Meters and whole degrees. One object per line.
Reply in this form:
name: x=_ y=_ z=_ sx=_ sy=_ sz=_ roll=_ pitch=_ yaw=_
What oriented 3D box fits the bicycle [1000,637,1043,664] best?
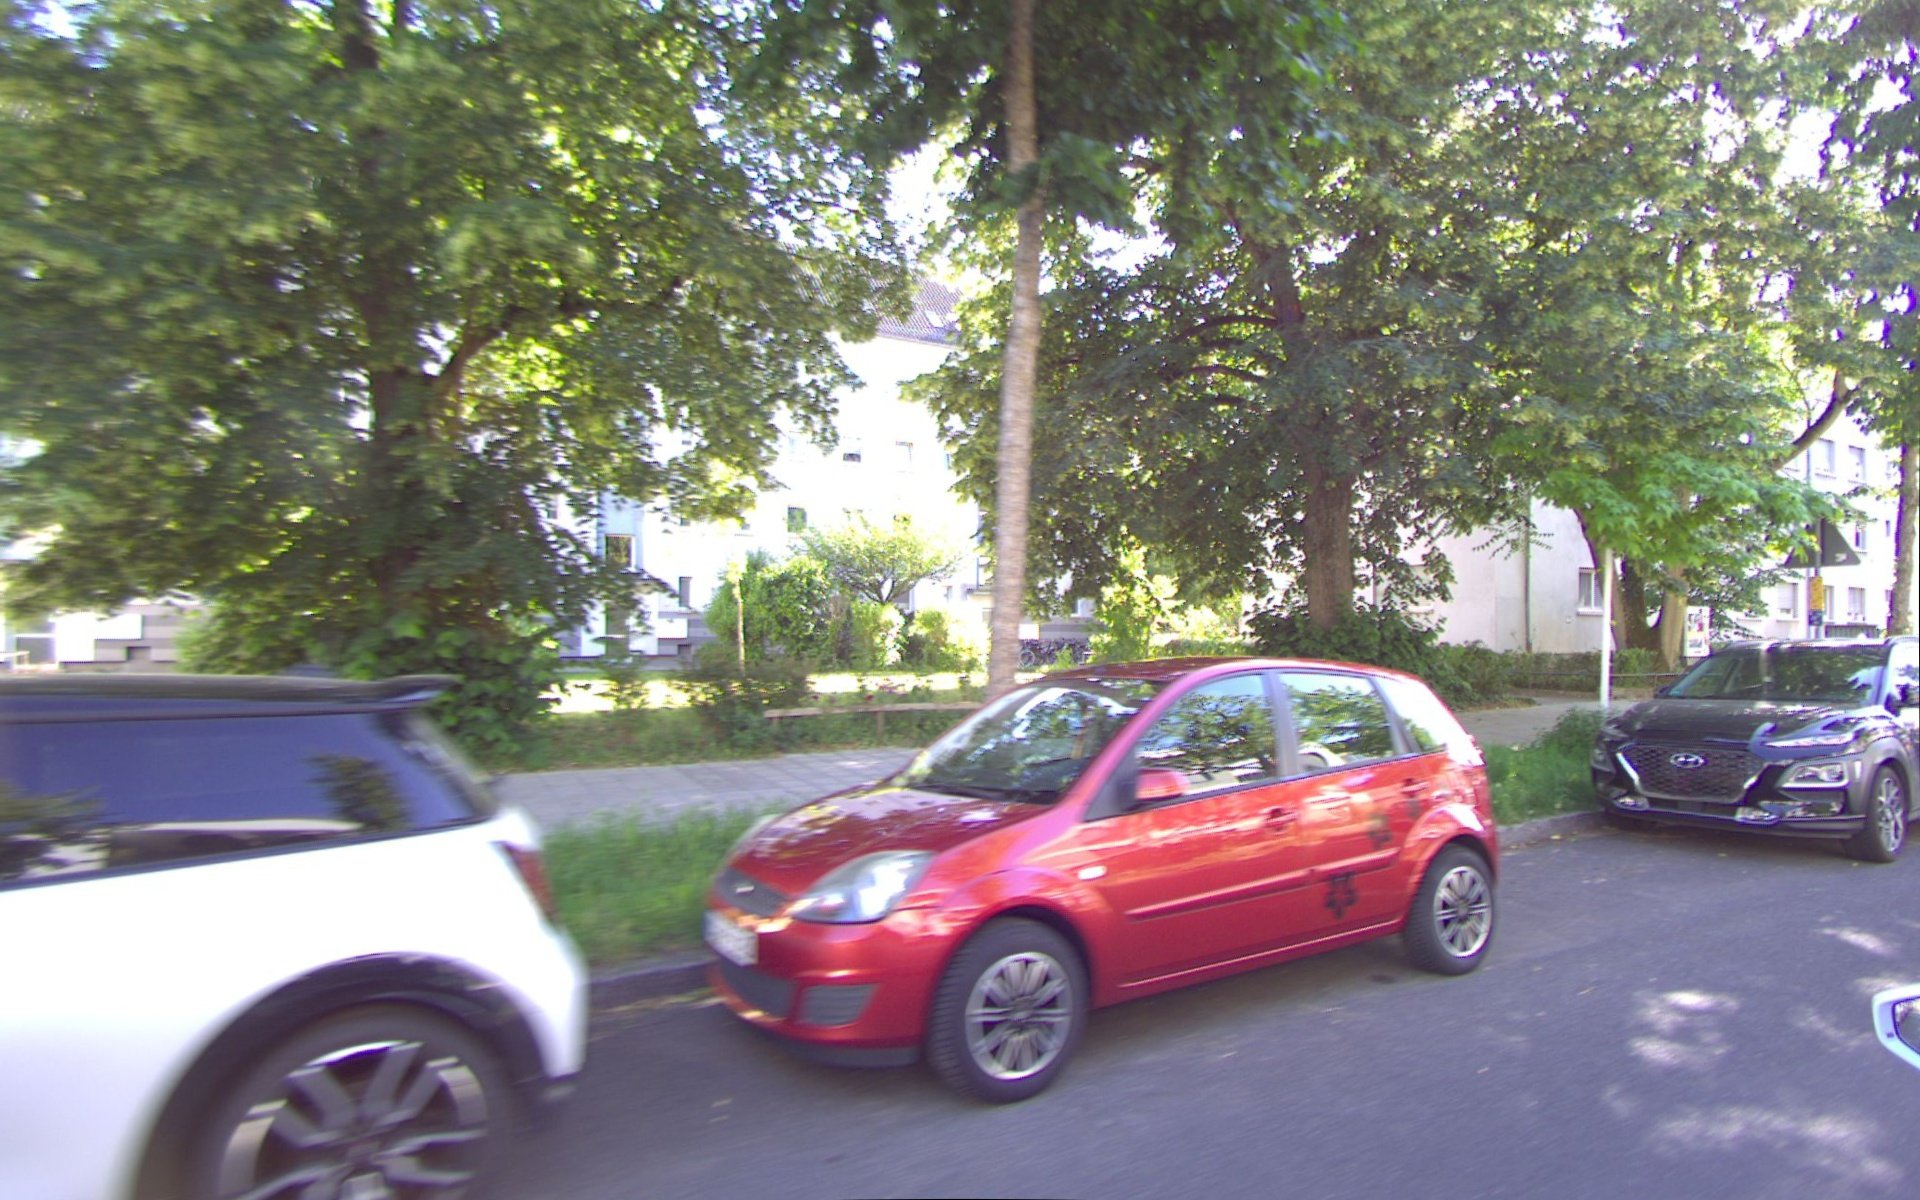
bicycle: x=2.487 y=2.030 z=40.690 sx=0.720 sy=1.066 sz=1.948 roll=1 pitch=-1 yaw=-33

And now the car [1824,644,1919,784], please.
car: x=11.449 y=1.177 z=11.016 sx=4.432 sy=1.370 sz=1.775 roll=1 pitch=-2 yaw=-32

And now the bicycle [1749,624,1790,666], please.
bicycle: x=25.597 y=1.410 z=31.757 sx=1.892 sy=1.306 sz=0.396 roll=1 pitch=-2 yaw=-32

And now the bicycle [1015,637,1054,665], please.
bicycle: x=3.035 y=2.073 z=41.128 sx=0.556 sy=1.066 sz=1.948 roll=1 pitch=-1 yaw=-33

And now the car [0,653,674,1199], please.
car: x=-2.955 y=0.845 z=2.313 sx=4.143 sy=1.391 sz=1.645 roll=1 pitch=-2 yaw=-32

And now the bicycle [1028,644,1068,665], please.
bicycle: x=3.636 y=2.246 z=41.490 sx=0.556 sy=0.785 sz=1.948 roll=1 pitch=-2 yaw=-33

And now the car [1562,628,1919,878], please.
car: x=7.078 y=1.047 z=8.282 sx=4.428 sy=1.598 sz=1.698 roll=1 pitch=-2 yaw=-30

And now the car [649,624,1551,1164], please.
car: x=0.812 y=0.898 z=4.637 sx=4.024 sy=1.524 sz=1.645 roll=1 pitch=-2 yaw=-32

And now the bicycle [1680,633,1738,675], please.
bicycle: x=22.423 y=1.604 z=30.061 sx=1.888 sy=1.216 sz=0.683 roll=1 pitch=-2 yaw=-29
